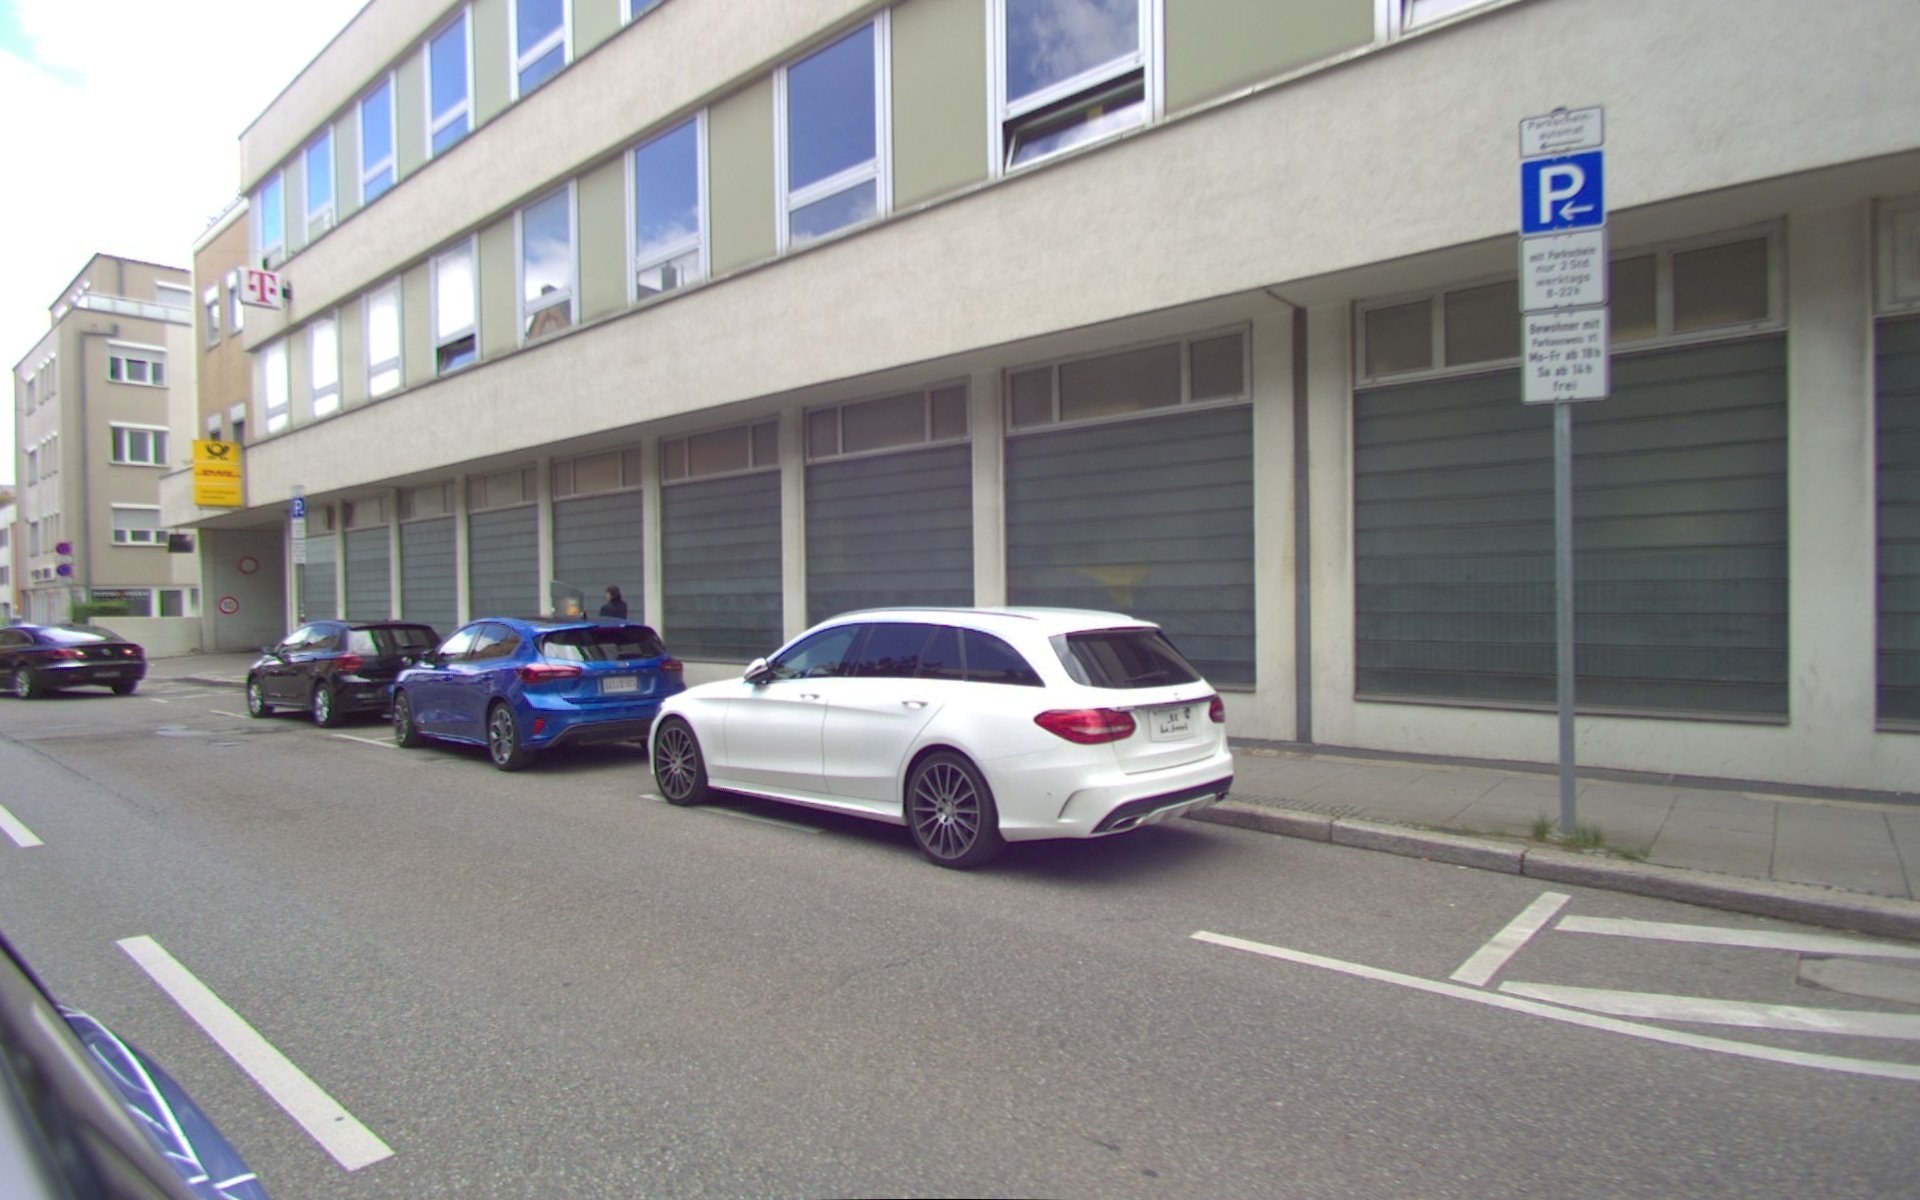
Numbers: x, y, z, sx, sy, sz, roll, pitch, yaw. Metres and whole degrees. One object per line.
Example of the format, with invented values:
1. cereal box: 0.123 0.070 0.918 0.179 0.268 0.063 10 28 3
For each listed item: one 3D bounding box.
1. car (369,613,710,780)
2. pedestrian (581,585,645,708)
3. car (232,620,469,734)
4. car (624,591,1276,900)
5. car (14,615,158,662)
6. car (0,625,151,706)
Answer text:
1. car: -4.630 0.881 10.814 4.264 1.436 1.795 -2 -2 43
2. pedestrian: -5.008 0.666 14.619 0.643 1.731 0.589 -1 0 14
3. car: -8.875 1.019 14.637 3.866 1.436 1.699 -1 -2 39
4. car: -0.371 0.737 6.898 4.552 1.445 1.652 -2 -2 43
5. car: -41.714 1.810 48.405 1.966 2.013 5.016 -2 0 42
6. car: -18.143 1.235 19.844 4.424 1.409 1.645 -1 0 23
